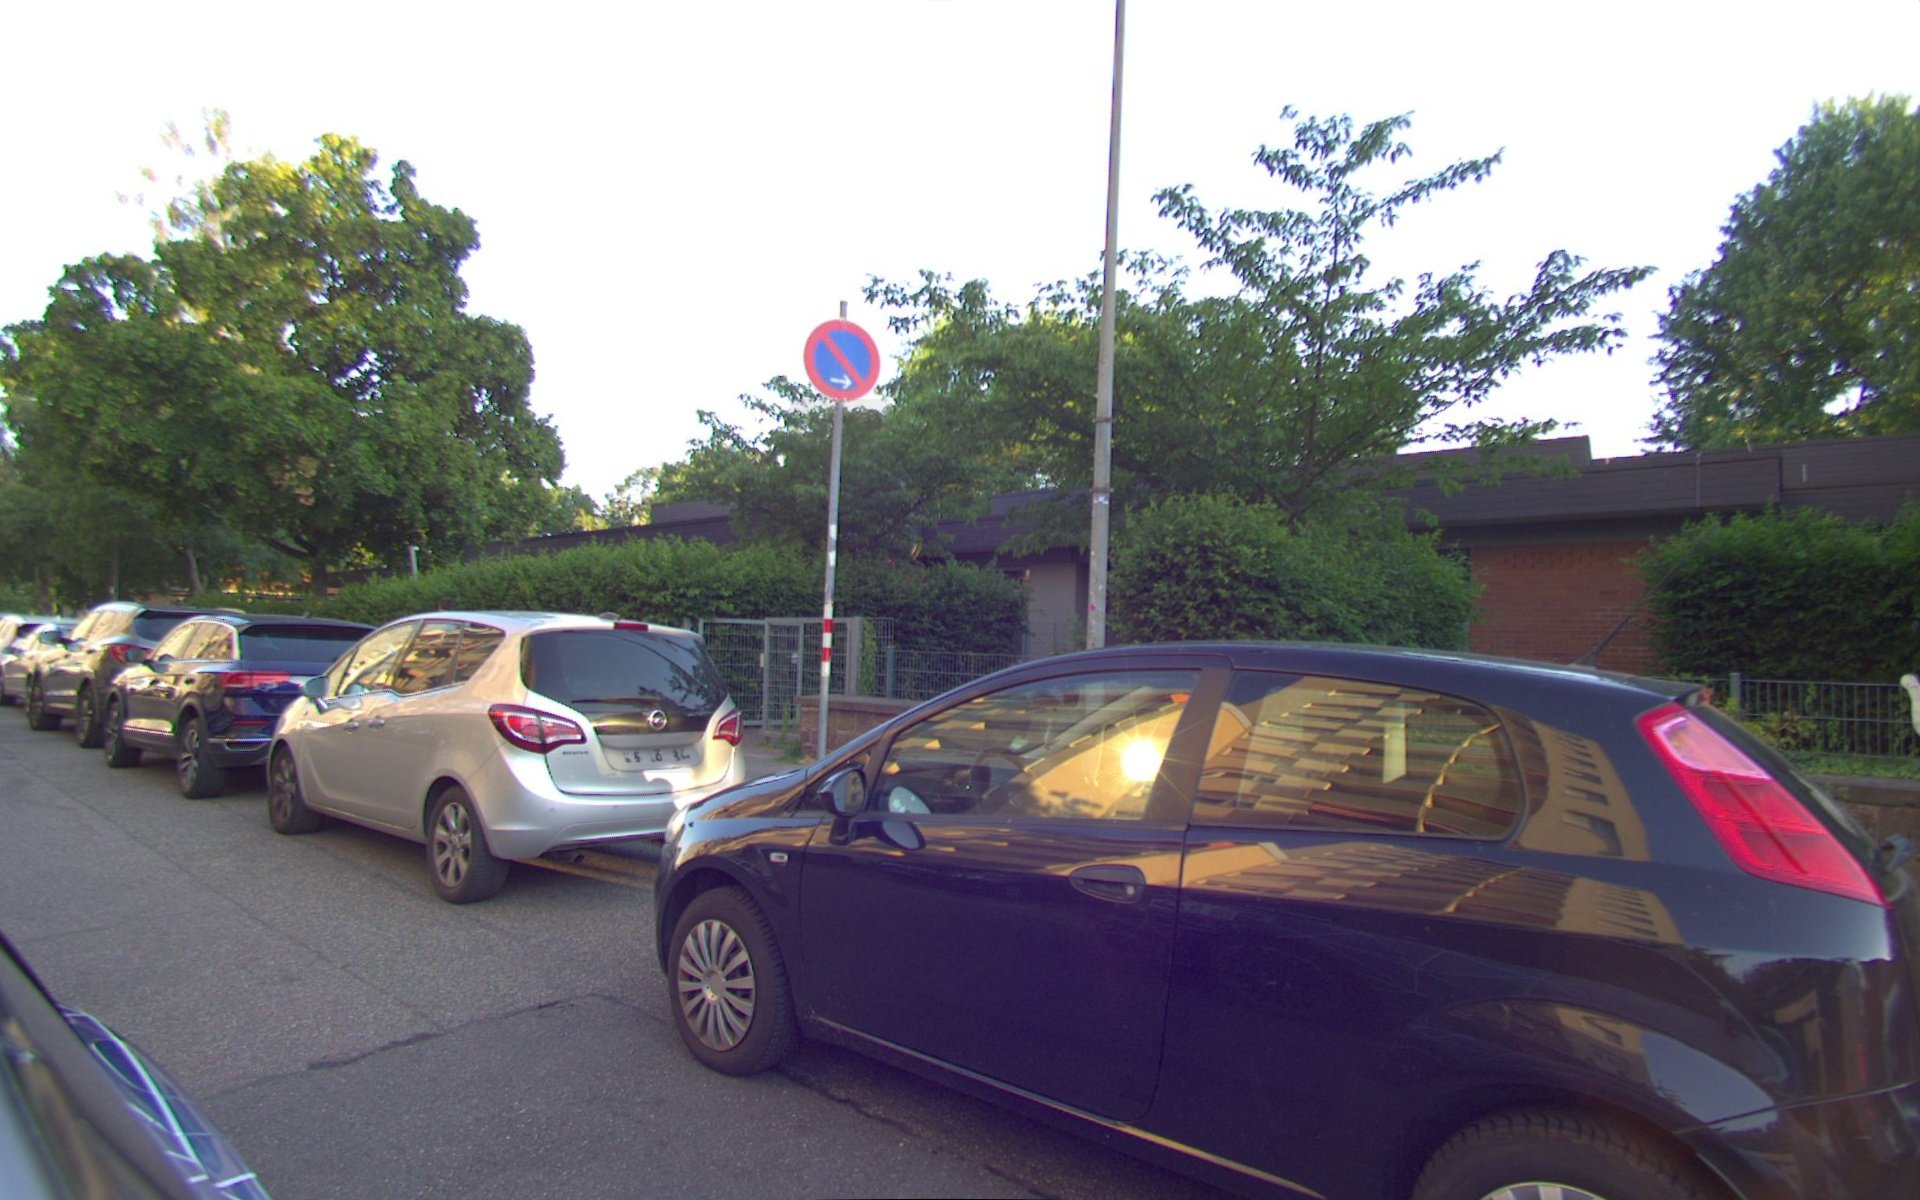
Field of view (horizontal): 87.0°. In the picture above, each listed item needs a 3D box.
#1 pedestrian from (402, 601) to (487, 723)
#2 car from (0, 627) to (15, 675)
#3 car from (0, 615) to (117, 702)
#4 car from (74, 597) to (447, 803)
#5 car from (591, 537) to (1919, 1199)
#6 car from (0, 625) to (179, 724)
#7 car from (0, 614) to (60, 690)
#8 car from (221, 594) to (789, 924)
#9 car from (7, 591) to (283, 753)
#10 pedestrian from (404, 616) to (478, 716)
[{"bbox_3d":[-7.713,0.904,15.159,0.749,1.745,0.890,-1,0,39],"label":"pedestrian"},{"bbox_3d":[-30.449,1.530,31.122,3.413,1.436,1.603,-1,-5,41],"label":"car"},{"bbox_3d":[-18.327,1.123,19.894,4.274,1.555,1.742,-1,-4,38],"label":"car"},{"bbox_3d":[-6.840,0.853,9.748,4.161,1.579,1.717,-1,-4,38],"label":"car"},{"bbox_3d":[0.713,0.774,3.102,3.692,1.579,1.717,-1,-4,38],"label":"car"},{"bbox_3d":[-14.654,1.171,16.698,4.281,1.438,1.717,-1,-4,38],"label":"car"},{"bbox_3d":[-22.372,1.180,23.431,3.978,1.644,1.715,-1,-5,41],"label":"car"},{"bbox_3d":[-3.226,0.849,6.844,4.123,1.579,1.717,-1,-4,38],"label":"car"},{"bbox_3d":[-10.473,0.861,12.908,4.317,1.743,1.717,-1,-4,38],"label":"car"},{"bbox_3d":[-8.288,1.026,16.164,0.901,1.519,0.741,-1,0,39],"label":"pedestrian"}]
